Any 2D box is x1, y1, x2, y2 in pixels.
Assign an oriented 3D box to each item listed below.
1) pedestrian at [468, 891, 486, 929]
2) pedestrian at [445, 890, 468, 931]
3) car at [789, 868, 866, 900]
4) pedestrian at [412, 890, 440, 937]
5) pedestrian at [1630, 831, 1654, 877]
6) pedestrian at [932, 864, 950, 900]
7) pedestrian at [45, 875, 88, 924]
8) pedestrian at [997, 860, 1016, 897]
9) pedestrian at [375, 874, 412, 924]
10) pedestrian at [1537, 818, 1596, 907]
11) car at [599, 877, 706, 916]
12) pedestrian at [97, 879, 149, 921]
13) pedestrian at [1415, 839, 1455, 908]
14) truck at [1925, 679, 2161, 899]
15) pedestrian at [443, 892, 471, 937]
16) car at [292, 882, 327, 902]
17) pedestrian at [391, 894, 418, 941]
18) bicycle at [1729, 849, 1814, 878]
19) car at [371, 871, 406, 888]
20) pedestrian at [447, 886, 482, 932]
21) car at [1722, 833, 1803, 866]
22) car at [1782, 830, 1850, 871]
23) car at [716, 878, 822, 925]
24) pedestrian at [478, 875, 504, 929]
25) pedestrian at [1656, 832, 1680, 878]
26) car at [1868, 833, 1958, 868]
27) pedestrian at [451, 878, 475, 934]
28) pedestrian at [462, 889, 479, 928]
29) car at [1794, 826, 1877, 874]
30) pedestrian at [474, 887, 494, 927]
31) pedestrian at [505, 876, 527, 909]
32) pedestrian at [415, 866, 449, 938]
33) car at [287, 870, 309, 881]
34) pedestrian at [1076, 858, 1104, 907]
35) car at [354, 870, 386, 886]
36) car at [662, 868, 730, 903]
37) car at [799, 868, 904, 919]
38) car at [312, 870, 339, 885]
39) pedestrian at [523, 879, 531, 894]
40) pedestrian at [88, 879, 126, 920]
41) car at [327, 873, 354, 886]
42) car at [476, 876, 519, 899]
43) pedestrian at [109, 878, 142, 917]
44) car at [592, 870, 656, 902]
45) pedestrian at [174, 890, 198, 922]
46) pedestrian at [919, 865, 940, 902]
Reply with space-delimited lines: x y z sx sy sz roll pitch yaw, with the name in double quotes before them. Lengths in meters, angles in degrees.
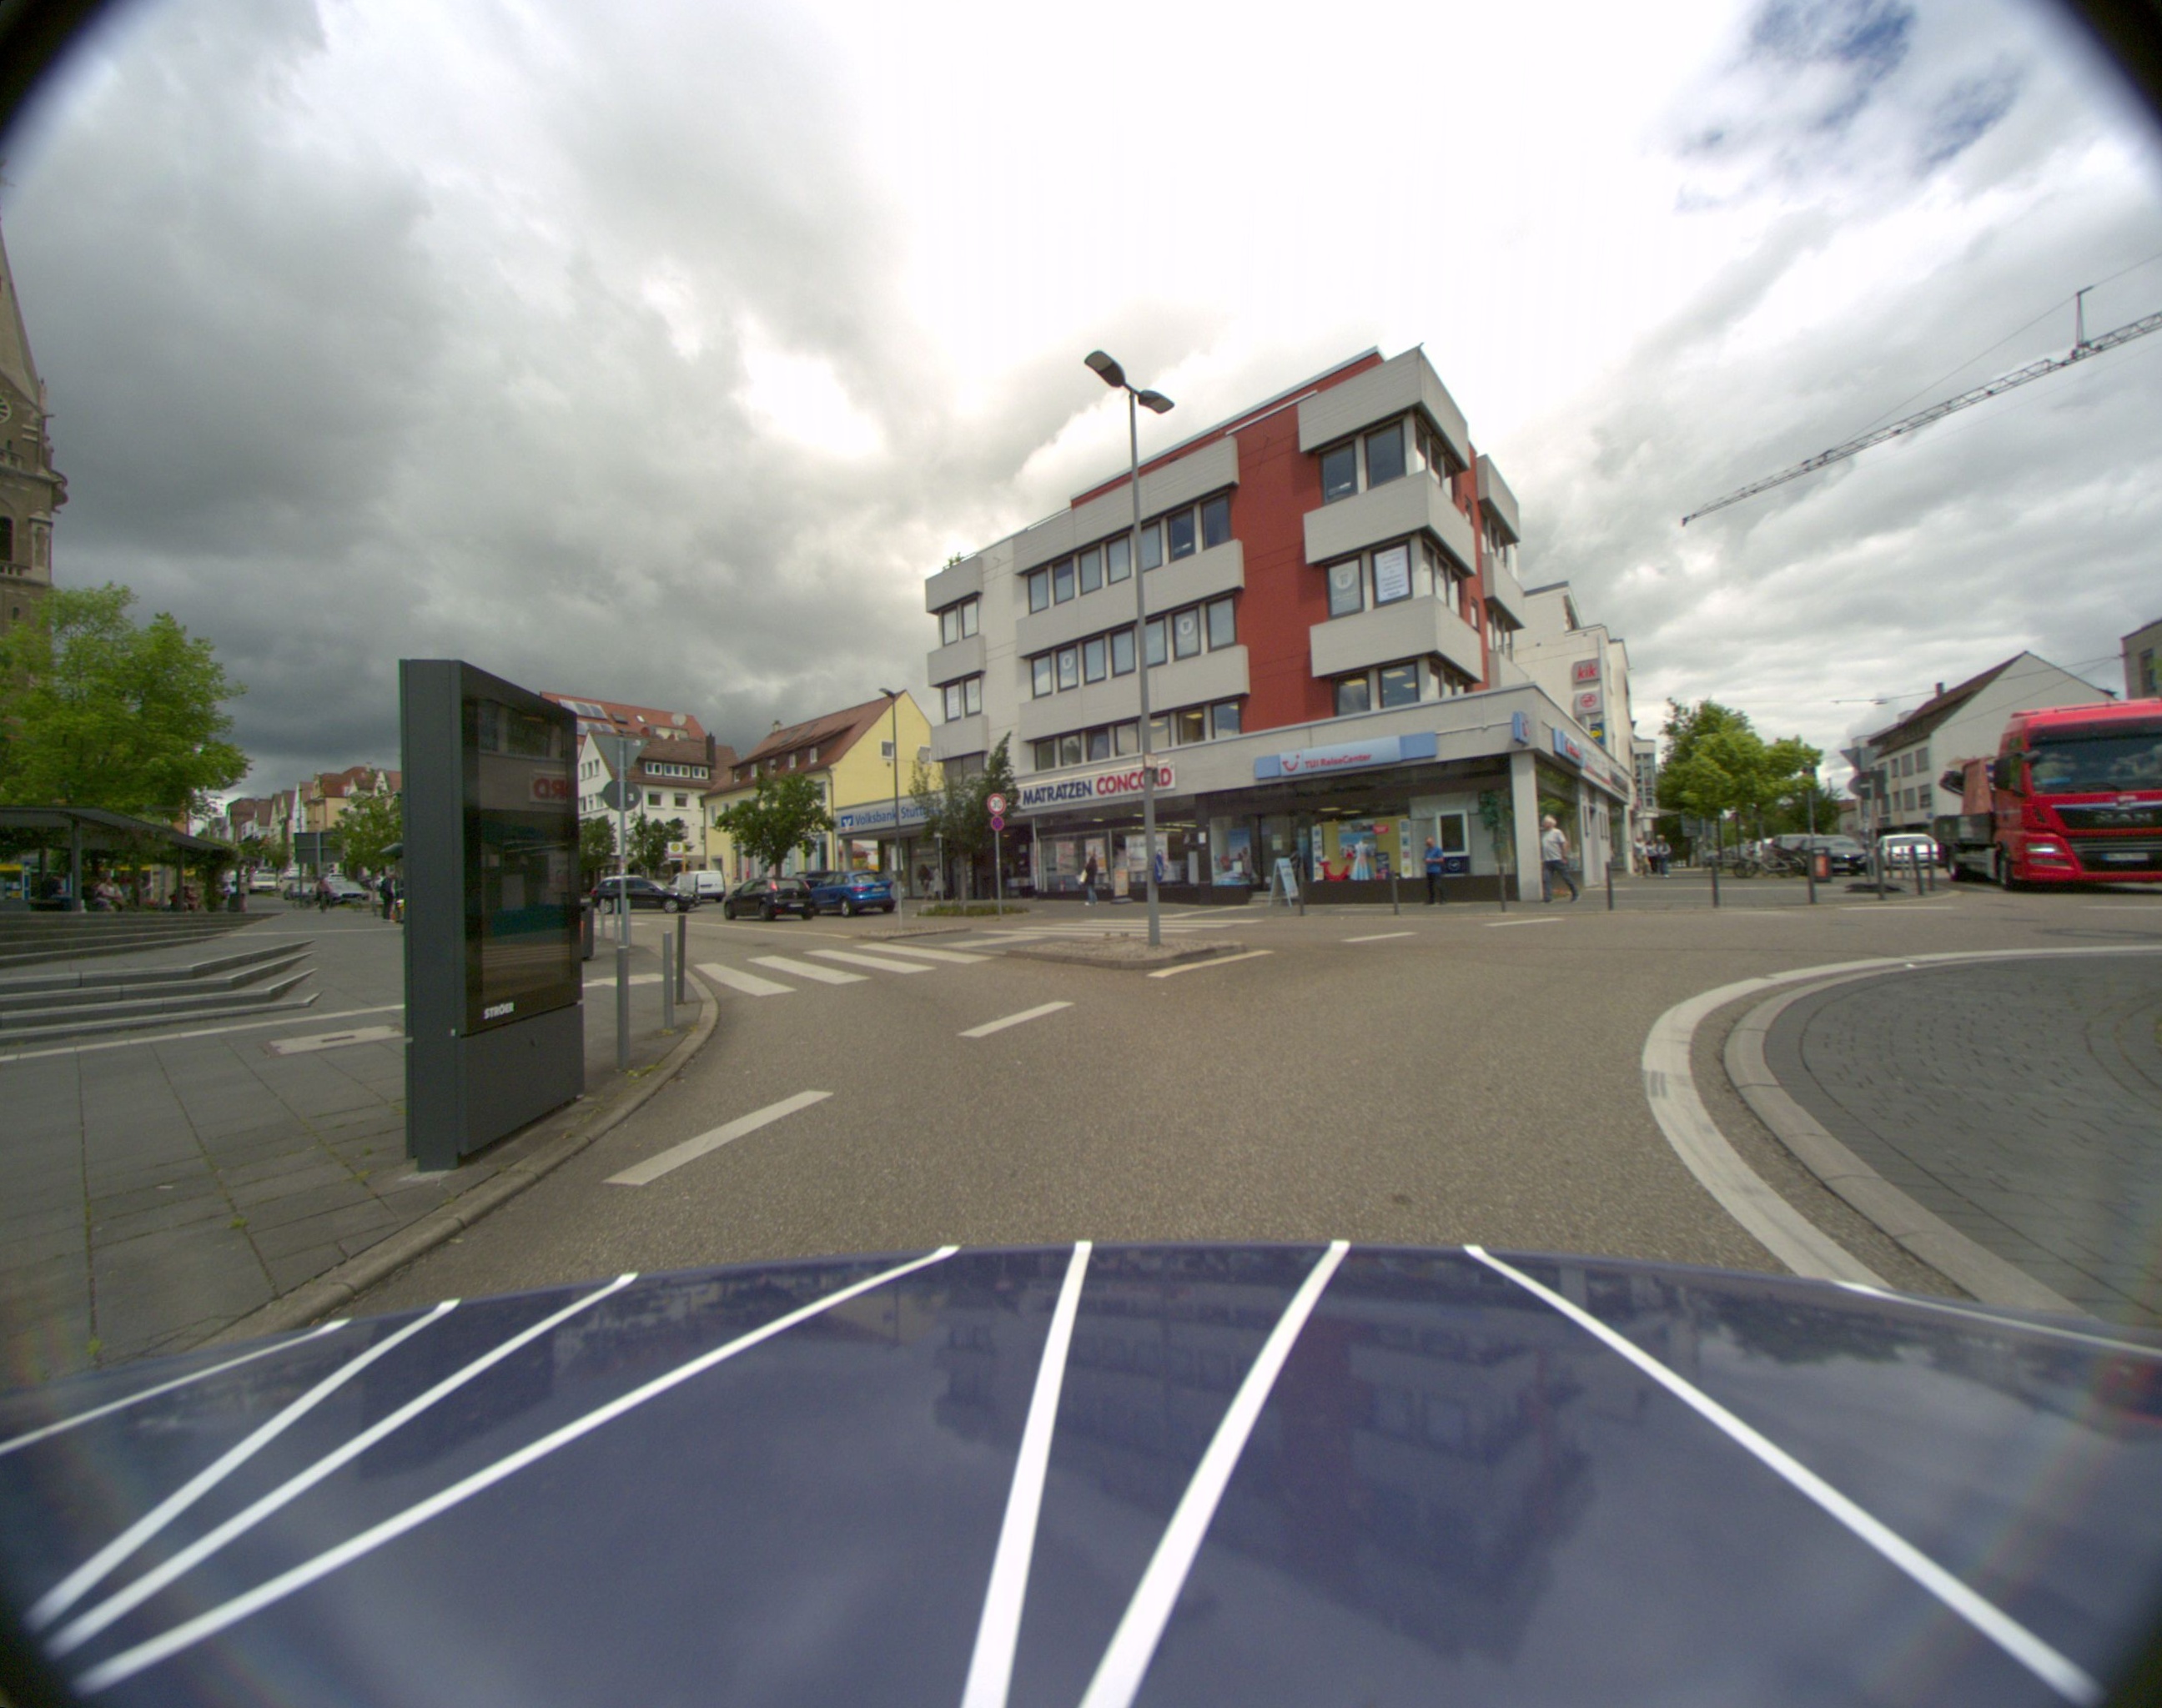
"pedestrian" -18.339 1.683 23.059 0.298 1.144 0.293 0 -2 -3
"pedestrian" -18.136 1.629 22.058 0.351 1.159 0.336 1 -2 11
"car" -13.831 1.597 41.572 1.664 1.549 3.646 -2 0 41
"pedestrian" -17.166 1.548 19.909 0.391 1.191 0.510 0 -2 -22
"pedestrian" 21.791 0.015 29.503 0.679 1.745 0.511 -2 0 36
"pedestrian" -6.130 1.229 33.317 0.585 1.557 0.512 -2 -2 43
"pedestrian" -28.116 1.240 21.060 0.570 1.316 0.544 -2 0 -38
"pedestrian" -3.530 1.171 35.954 0.585 1.694 0.646 -4 -3 33
"pedestrian" -23.189 1.509 25.647 0.802 1.627 0.685 -1 -1 -33
"pedestrian" 10.592 0.183 16.590 0.682 1.864 0.804 -3 0 -32
"car" -19.161 1.893 34.162 3.736 1.516 1.894 -1 2 -10
"pedestrian" -30.470 1.459 24.179 0.771 1.261 0.675 -2 0 -20
"pedestrian" 8.454 0.472 18.173 0.606 1.594 0.569 -3 0 0
"truck" 23.069 -1.286 18.011 2.959 4.004 10.617 -1 0 42
"pedestrian" -16.545 1.594 20.144 0.477 1.165 0.390 1 -2 -28
"car" -62.099 3.019 61.161 3.493 1.423 1.526 0 1 37
"pedestrian" -16.945 1.574 19.040 0.382 1.141 0.441 -2 -2 40
"bicycle" 23.089 0.336 25.444 2.060 0.940 0.523 -1 1 37
"car" -71.168 2.608 78.045 4.442 1.564 1.734 0 1 35
"pedestrian" -17.445 1.550 21.510 0.598 1.295 0.433 0 -2 9
"car" 34.338 -0.237 38.433 1.859 1.557 4.383 -1 0 25
"car" 30.267 -0.166 31.379 1.858 1.571 4.384 -1 0 42
"car" -10.732 1.569 26.010 4.107 1.411 1.707 -2 1 43
"pedestrian" -17.974 1.463 23.158 0.388 1.609 0.469 0 -2 -2
"pedestrian" 22.528 0.036 29.153 0.538 1.745 0.509 -3 0 -30
"car" 34.131 -0.160 31.298 1.678 1.324 3.864 -3 0 35
"pedestrian" -16.896 1.407 20.766 0.389 1.508 0.392 -1 -2 32
"pedestrian" -18.212 1.632 22.679 0.271 1.153 0.264 0 -2 6
"car" 26.521 -0.151 26.823 1.858 1.571 4.384 -1 0 42
"pedestrian" -18.450 1.641 23.491 0.404 1.218 0.387 0 -1 -25
"pedestrian" -29.298 1.963 39.389 0.687 1.672 0.713 -1 -1 -14
"pedestrian" -16.598 1.219 19.443 0.434 1.811 0.542 -1 -2 38
"car" -108.282 2.957 105.058 3.519 1.515 1.695 0 0 37
"pedestrian" 0.301 0.922 25.010 0.637 1.579 0.590 -2 1 34
"car" -77.055 2.554 82.326 3.952 1.517 1.672 0 2 35
"car" -21.894 1.782 43.143 4.464 1.803 1.765 -2 1 40
"car" -8.415 1.403 27.602 4.320 1.590 1.703 -2 2 45
"car" -93.924 2.915 94.429 3.980 1.670 1.737 0 1 37
"pedestrian" -47.820 2.806 65.591 0.453 1.292 0.423 -1 1 37
"pedestrian" -29.989 1.389 23.409 0.570 1.220 0.565 -2 0 -38
"car" -87.809 2.985 90.074 3.493 1.423 1.737 0 1 37
"car" -44.845 2.561 58.324 4.122 1.637 1.674 -1 1 39
"pedestrian" -33.071 1.500 26.312 0.627 1.299 0.544 0 -2 -44
"car" -26.075 1.813 43.343 4.338 1.662 1.665 -2 1 39
"pedestrian" -35.928 2.077 30.515 0.571 1.254 0.540 0 -3 -43
"pedestrian" -6.462 1.249 32.491 0.585 1.557 0.646 -2 -2 41
